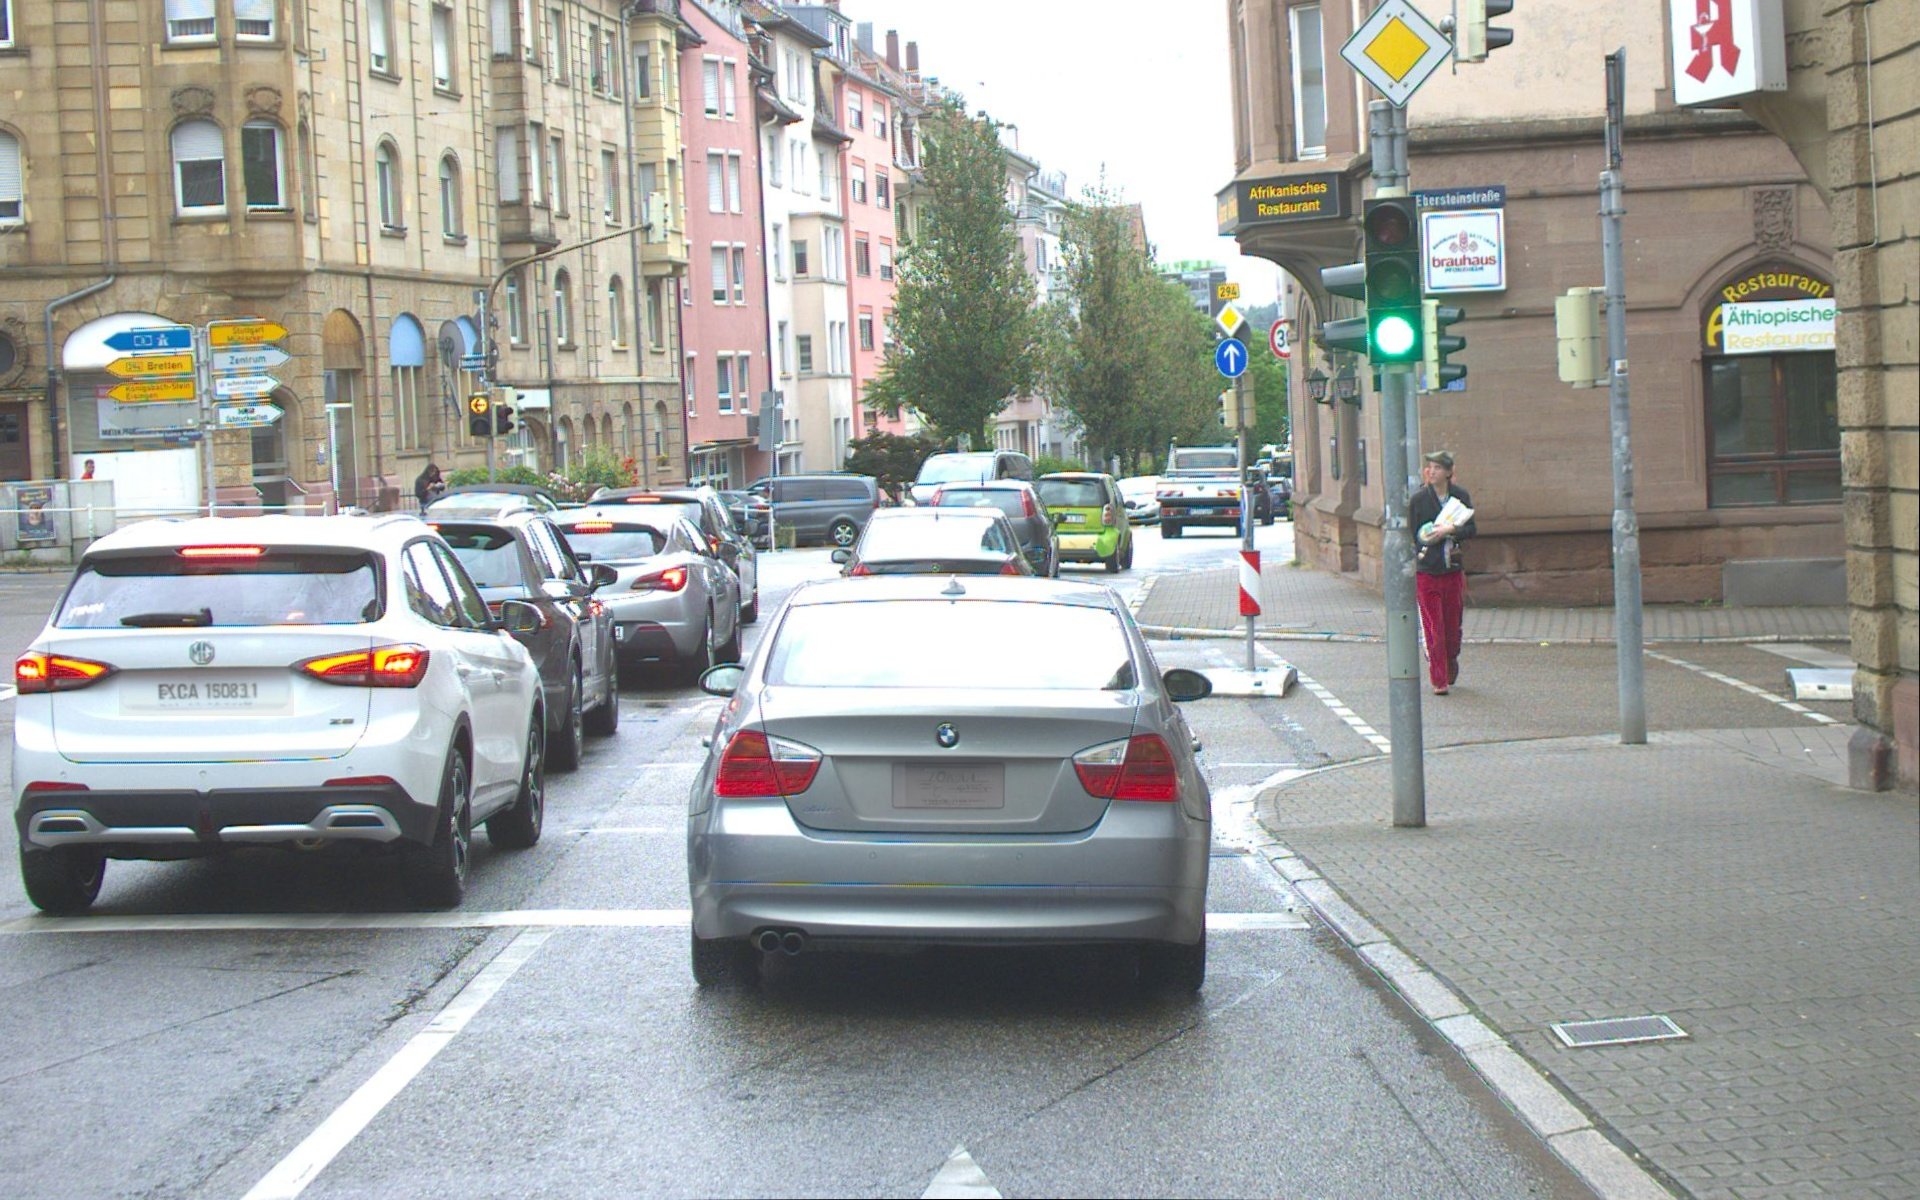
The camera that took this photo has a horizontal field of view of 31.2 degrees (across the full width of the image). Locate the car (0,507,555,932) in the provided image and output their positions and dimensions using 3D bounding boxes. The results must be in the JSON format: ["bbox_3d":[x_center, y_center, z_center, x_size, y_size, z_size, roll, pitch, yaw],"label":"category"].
[{"bbox_3d":[-2.957,0.418,15.582,1.752,1.639,4.379,-1,1,-1],"label":"car"}]

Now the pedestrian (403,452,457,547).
[{"bbox_3d":[-9.465,-1.803,61.434,0.826,1.696,0.639,-1,2,-21],"label":"pedestrian"}]

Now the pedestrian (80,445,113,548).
[{"bbox_3d":[-14.951,-1.797,59.511,0.522,1.768,0.694,-1,2,-16],"label":"pedestrian"}]

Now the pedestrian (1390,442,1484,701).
[{"bbox_3d":[3.679,-0.239,26.544,0.698,1.942,1.090,0,3,7],"label":"pedestrian"}]

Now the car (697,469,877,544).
[{"bbox_3d":[-4.523,-2.480,90.381,4.674,1.932,1.863,0,2,-1],"label":"car"}]

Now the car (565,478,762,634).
[{"bbox_3d":[-3.068,-0.483,36.271,1.752,1.529,4.215,-1,1,-1],"label":"car"}]

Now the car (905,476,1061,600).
[{"bbox_3d":[0.330,-0.789,43.211,1.698,1.478,3.793,-1,1,4],"label":"car"}]

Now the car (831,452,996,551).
[{"bbox_3d":[-0.965,-1.935,68.457,1.742,1.840,4.147,-3,2,-24],"label":"car"}]

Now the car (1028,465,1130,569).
[{"bbox_3d":[1.891,-1.294,53.790,1.449,1.560,3.332,-1,1,4],"label":"car"}]

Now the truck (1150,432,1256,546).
[{"bbox_3d":[5.383,-2.419,75.757,2.032,2.404,4.826,0,1,7],"label":"truck"}]

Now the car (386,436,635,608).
[{"bbox_3d":[-5.151,-0.946,39.901,1.714,1.491,3.682,-12,2,8],"label":"car"}]

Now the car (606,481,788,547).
[{"bbox_3d":[-6.510,-2.136,85.329,4.148,1.505,1.873,-1,2,8],"label":"car"}]

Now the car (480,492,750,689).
[{"bbox_3d":[-2.863,-0.137,29.356,1.752,1.478,4.181,-1,2,1],"label":"car"}]

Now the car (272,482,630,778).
[{"bbox_3d":[-3.238,0.109,22.630,1.752,1.638,4.213,-1,3,-1],"label":"car"}]

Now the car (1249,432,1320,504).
[{"bbox_3d":[9.193,-3.697,97.117,1.813,1.897,3.999,1,1,8],"label":"car"}]

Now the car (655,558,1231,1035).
[{"bbox_3d":[-0.073,0.586,12.510,1.769,1.423,3.741,-1,1,-1],"label":"car"}]

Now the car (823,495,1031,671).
[{"bbox_3d":[-0.231,-0.185,30.011,1.682,1.423,3.741,-1,1,1],"label":"car"}]
